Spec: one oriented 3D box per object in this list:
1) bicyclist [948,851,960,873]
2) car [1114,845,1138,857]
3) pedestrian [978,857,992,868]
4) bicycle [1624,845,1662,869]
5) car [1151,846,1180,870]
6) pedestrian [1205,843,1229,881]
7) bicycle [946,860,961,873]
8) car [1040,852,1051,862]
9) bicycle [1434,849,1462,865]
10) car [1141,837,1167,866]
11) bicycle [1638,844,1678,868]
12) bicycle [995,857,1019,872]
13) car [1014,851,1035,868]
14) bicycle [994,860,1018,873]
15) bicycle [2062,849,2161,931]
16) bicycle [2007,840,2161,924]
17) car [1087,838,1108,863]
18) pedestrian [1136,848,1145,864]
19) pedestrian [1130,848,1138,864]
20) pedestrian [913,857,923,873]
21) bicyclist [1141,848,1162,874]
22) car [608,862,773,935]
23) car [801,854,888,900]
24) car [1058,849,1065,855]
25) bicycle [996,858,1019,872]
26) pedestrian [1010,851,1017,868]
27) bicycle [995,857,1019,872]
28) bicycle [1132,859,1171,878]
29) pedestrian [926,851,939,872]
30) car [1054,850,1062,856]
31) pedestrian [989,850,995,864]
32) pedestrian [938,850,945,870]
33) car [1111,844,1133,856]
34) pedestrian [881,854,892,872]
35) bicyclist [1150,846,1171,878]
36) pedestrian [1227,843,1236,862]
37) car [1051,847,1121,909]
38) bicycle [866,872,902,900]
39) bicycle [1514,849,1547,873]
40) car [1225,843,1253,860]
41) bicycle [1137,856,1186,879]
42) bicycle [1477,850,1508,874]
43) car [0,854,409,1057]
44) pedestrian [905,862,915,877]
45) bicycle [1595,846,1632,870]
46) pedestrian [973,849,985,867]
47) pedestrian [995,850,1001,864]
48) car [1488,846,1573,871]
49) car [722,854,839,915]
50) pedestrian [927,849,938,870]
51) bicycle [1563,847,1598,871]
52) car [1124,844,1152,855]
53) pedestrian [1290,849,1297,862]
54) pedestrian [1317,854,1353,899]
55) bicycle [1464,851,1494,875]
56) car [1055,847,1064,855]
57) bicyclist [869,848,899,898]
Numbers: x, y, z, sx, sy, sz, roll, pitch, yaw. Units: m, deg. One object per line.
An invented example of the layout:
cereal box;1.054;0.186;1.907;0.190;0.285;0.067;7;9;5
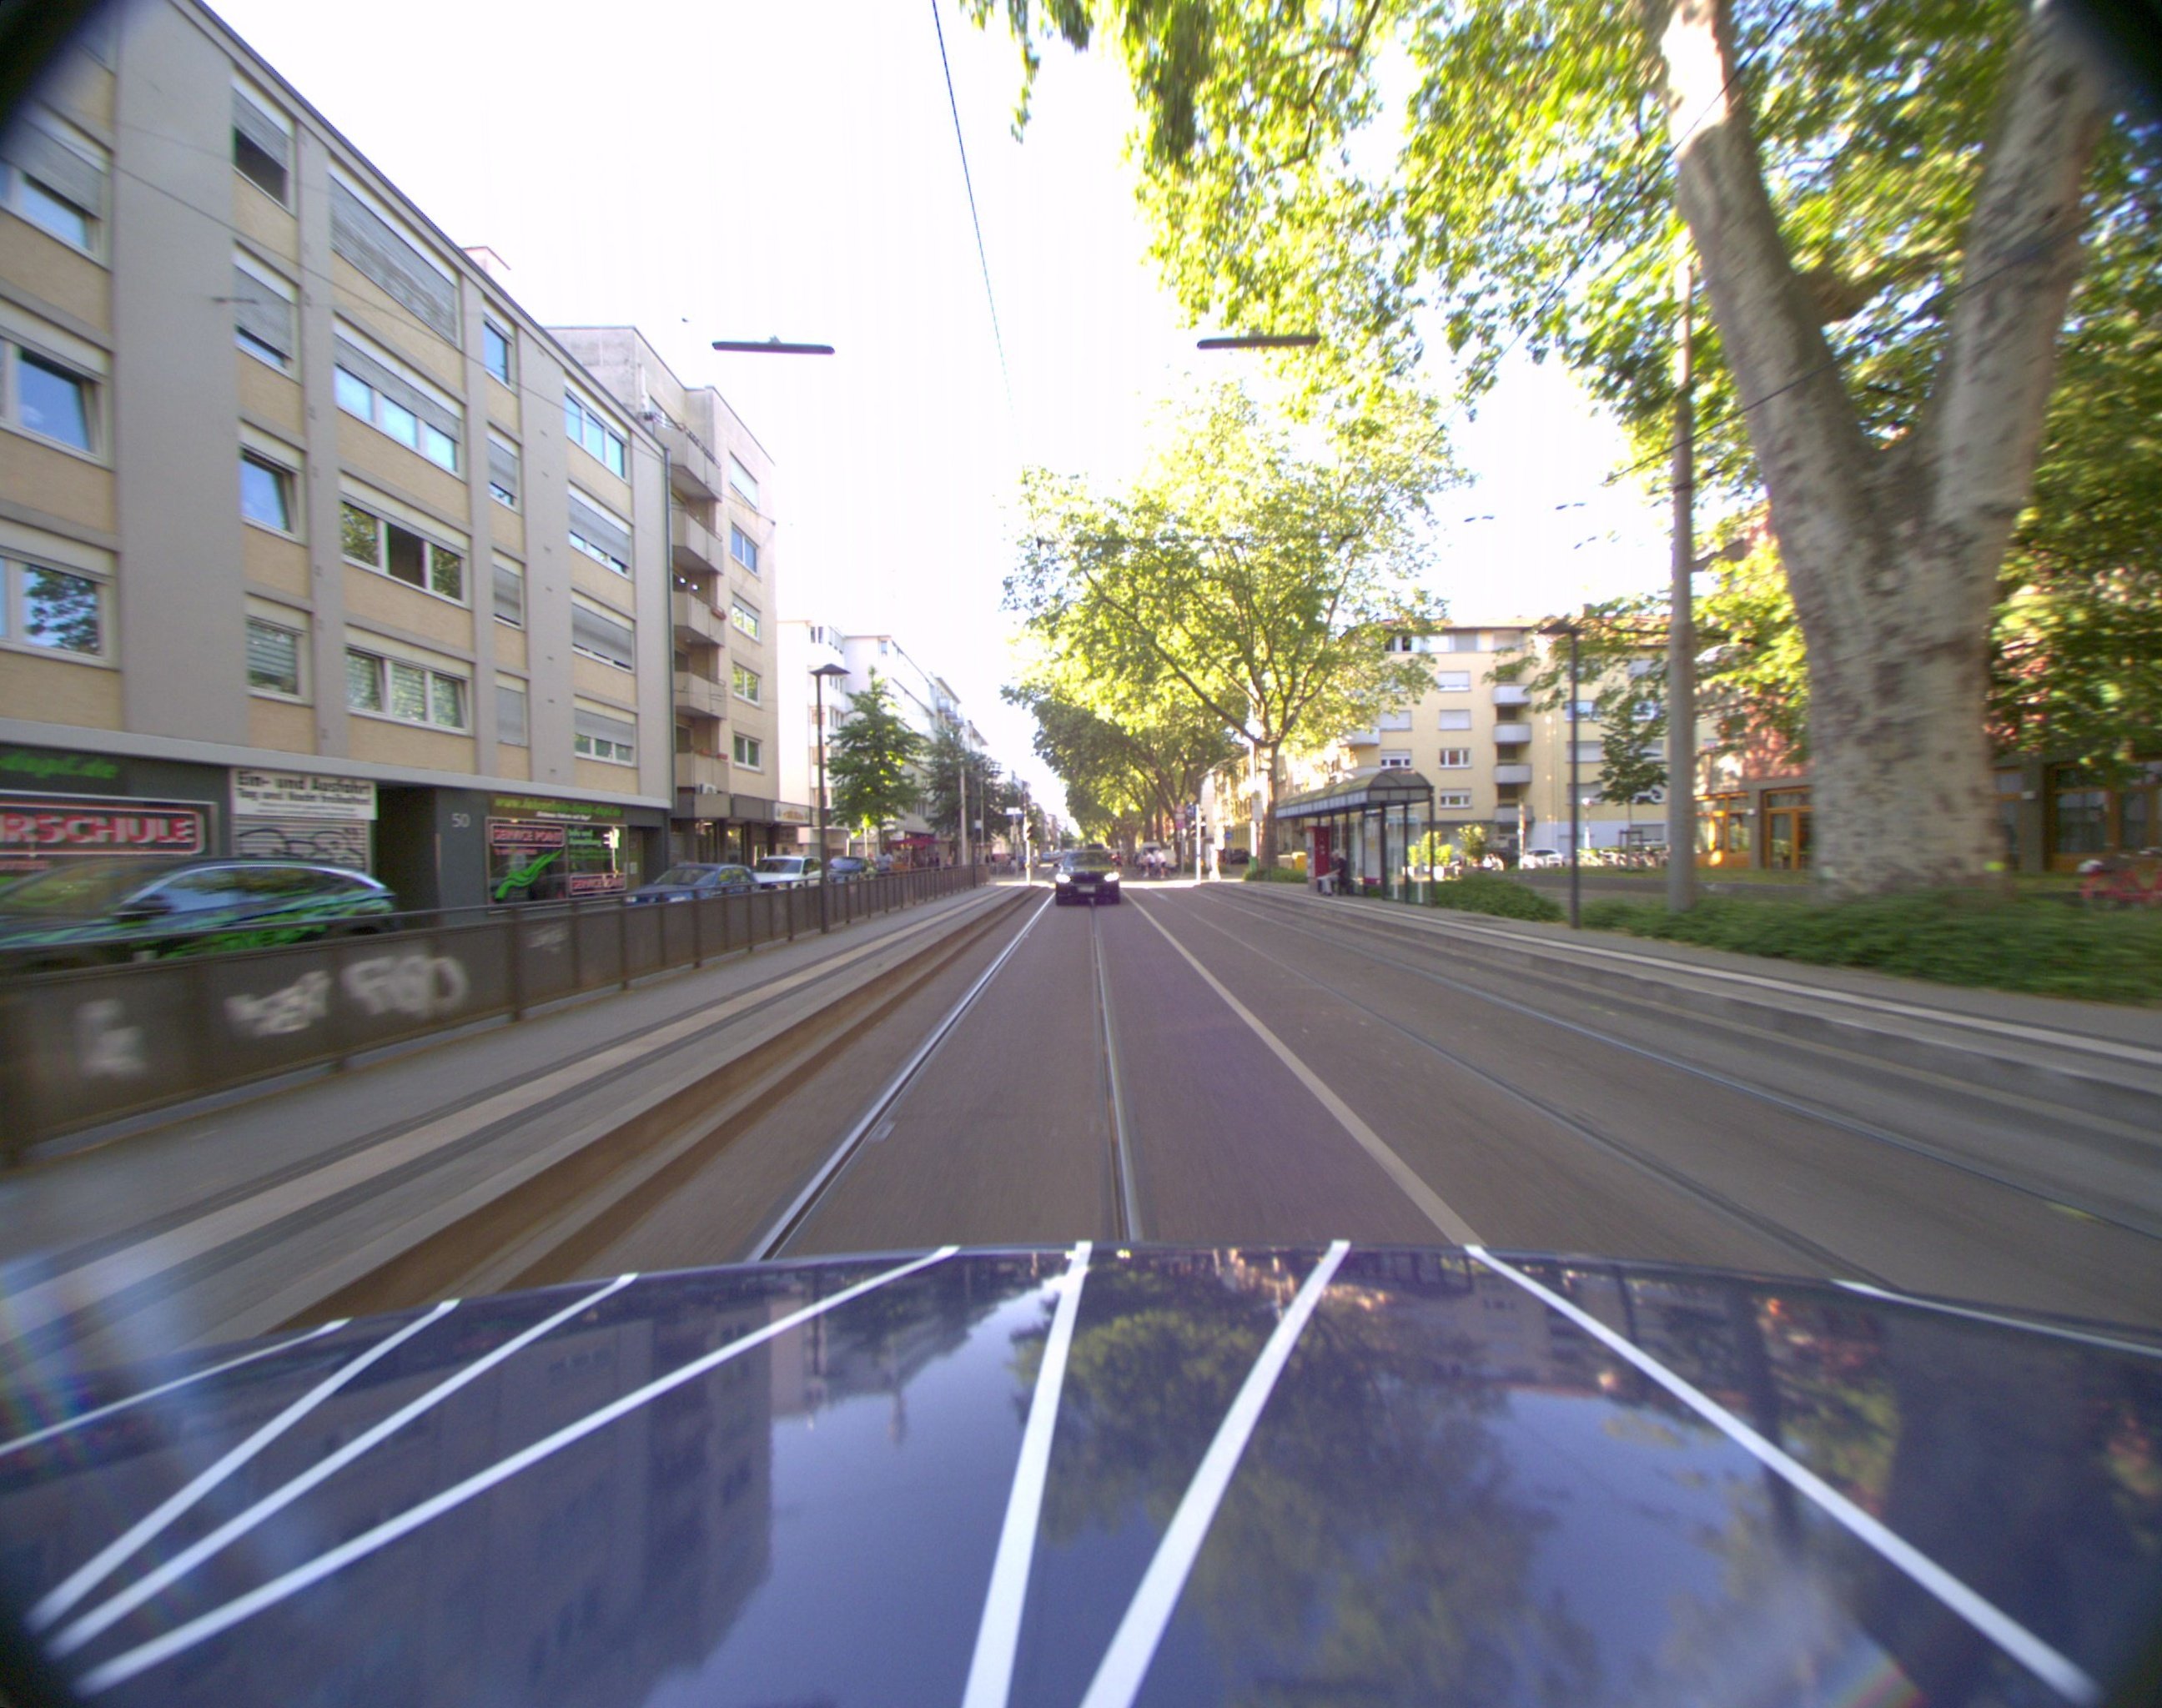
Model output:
bicyclist;-10.068;0.611;60.100;0.678;1.707;0.965;-2;1;3
car;9.252;-0.661;156.672;4.661;2.293;2.000;-2;1;0
pedestrian;-8.780;0.792;69.475;0.999;1.021;0.662;-1;2;42
bicycle;26.087;0.125;35.288;0.543;1.078;1.638;-2;1;-1
car;6.812;0.267;61.755;1.768;1.840;4.317;-2;1;-1
pedestrian;6.787;0.401;37.867;0.926;1.825;0.920;-2;1;-3
bicycle;-10.061;0.954;59.938;0.678;0.957;2.022;-2;1;3
car;-7.193;0.540;153.786;1.958;1.914;3.999;-2;1;1
bicycle;25.181;0.196;52.175;1.637;1.078;0.543;-1;0;1
car;6.886;-0.267;72.517;2.113;2.562;6.024;-2;1;2
bicycle;26.813;0.081;35.333;0.543;1.078;1.638;-2;1;-1
bicycle;-5.888;0.829;60.314;1.821;1.094;0.497;-2;1;-8
car;-5.899;0.551;79.524;1.763;1.578;4.328;2;1;0
bicycle;-5.858;0.981;59.392;1.820;0.988;0.481;-2;1;-2
bicycle;16.648;0.516;11.618;2.346;1.159;0.682;-3;1;1
bicycle;16.764;0.441;12.380;2.464;1.212;0.682;-3;1;1
car;1.835;-0.445;86.985;2.119;2.722;6.113;0;1;-1
pedestrian;6.889;0.234;88.323;0.768;1.725;0.715;-1;2;42
pedestrian;6.156;0.197;87.622;0.769;1.767;0.714;-2;1;11
pedestrian;-12.440;0.823;58.045;0.660;1.168;0.521;-2;1;-2
bicyclist;4.145;0.417;44.913;0.991;1.539;0.683;-1;2;30
car;-9.345;0.988;18.629;1.748;1.432;4.246;-2;1;1
car;-9.431;0.866;30.674;1.998;1.606;4.444;-2;1;1
car;-5.755;-0.576;223.834;1.867;1.499;3.999;-2;1;1
bicycle;-5.979;0.914;61.897;1.820;1.094;0.525;-1;1;0
pedestrian;-7.165;0.584;80.569;0.540;1.841;0.663;-2;1;-22
bicycle;-5.952;0.839;60.936;1.821;1.094;0.481;-2;1;-8
bicycle;4.152;0.870;44.911;2.208;1.064;0.683;-1;1;30
pedestrian;-11.794;0.606;60.364;0.813;1.649;0.679;-2;1;5
car;-5.824;-0.252;194.531;1.867;1.499;3.999;-2;1;1
pedestrian;-10.748;0.307;91.595;0.597;1.668;0.934;1;1;-2
pedestrian;-12.523;0.516;68.227;0.432;1.786;0.489;-2;1;-1
car;9.258;-0.872;171.238;4.661;2.518;2.000;-2;1;0
pedestrian;-13.886;0.627;54.181;0.536;1.280;0.715;-2;1;2
bicyclist;4.553;0.445;43.261;0.949;1.753;0.786;-1;1;23
pedestrian;15.381;-0.137;77.634;0.746;1.859;0.863;-2;1;-2
car;0.178;0.673;24.381;1.998;1.723;4.399;-2;1;1
bicycle;-7.424;1.192;28.708;0.790;0.932;1.939;-2;1;1
bicycle;20.980;0.319;35.485;0.543;1.077;1.639;-2;-1;-1
car;17.156;-0.254;82.675;1.998;1.723;4.897;-2;1;1
bicycle;4.585;0.767;43.258;2.590;1.184;0.786;-2;1;23
bicycle;19.286;0.404;35.645;0.543;1.077;1.639;-2;-1;-1
car;-9.769;0.869;7.722;1.862;1.606;4.397;-2;1;1
pedestrian;-12.555;1.142;55.765;0.643;1.072;0.521;-2;1;-2
bicycle;24.743;0.171;35.325;0.543;1.078;1.638;-2;1;-1
pedestrian;-10.476;0.431;78.068;0.590;1.774;0.997;-1;1;35
pedestrian;-10.016;0.352;91.632;0.643;1.628;0.869;1;1;-1
car;27.516;0.272;46.626;3.997;1.368;1.999;-2;1;-1
car;-9.228;0.874;23.794;1.804;1.596;4.414;-2;1;1
pedestrian;-13.130;0.504;67.174;0.525;1.795;0.633;-1;2;43
bicycle;23.306;0.218;35.481;0.543;1.078;1.638;-1;0;-1
car;11.031;-0.881;147.989;5.135;1.984;1.999;-2;1;-4
pedestrian;17.994;0.146;64.419;0.421;1.099;0.437;-2;1;-10
pedestrian;6.742;0.588;20.185;0.707;1.162;0.659;0;1;-3
bicycle;18.658;0.437;35.644;0.543;1.077;1.537;-2;-2;-1
car;-5.734;-0.741;203.969;1.991;2.085;4.469;-2;1;1
bicyclist;-7.436;0.684;28.705;0.769;1.821;1.099;-2;1;1
